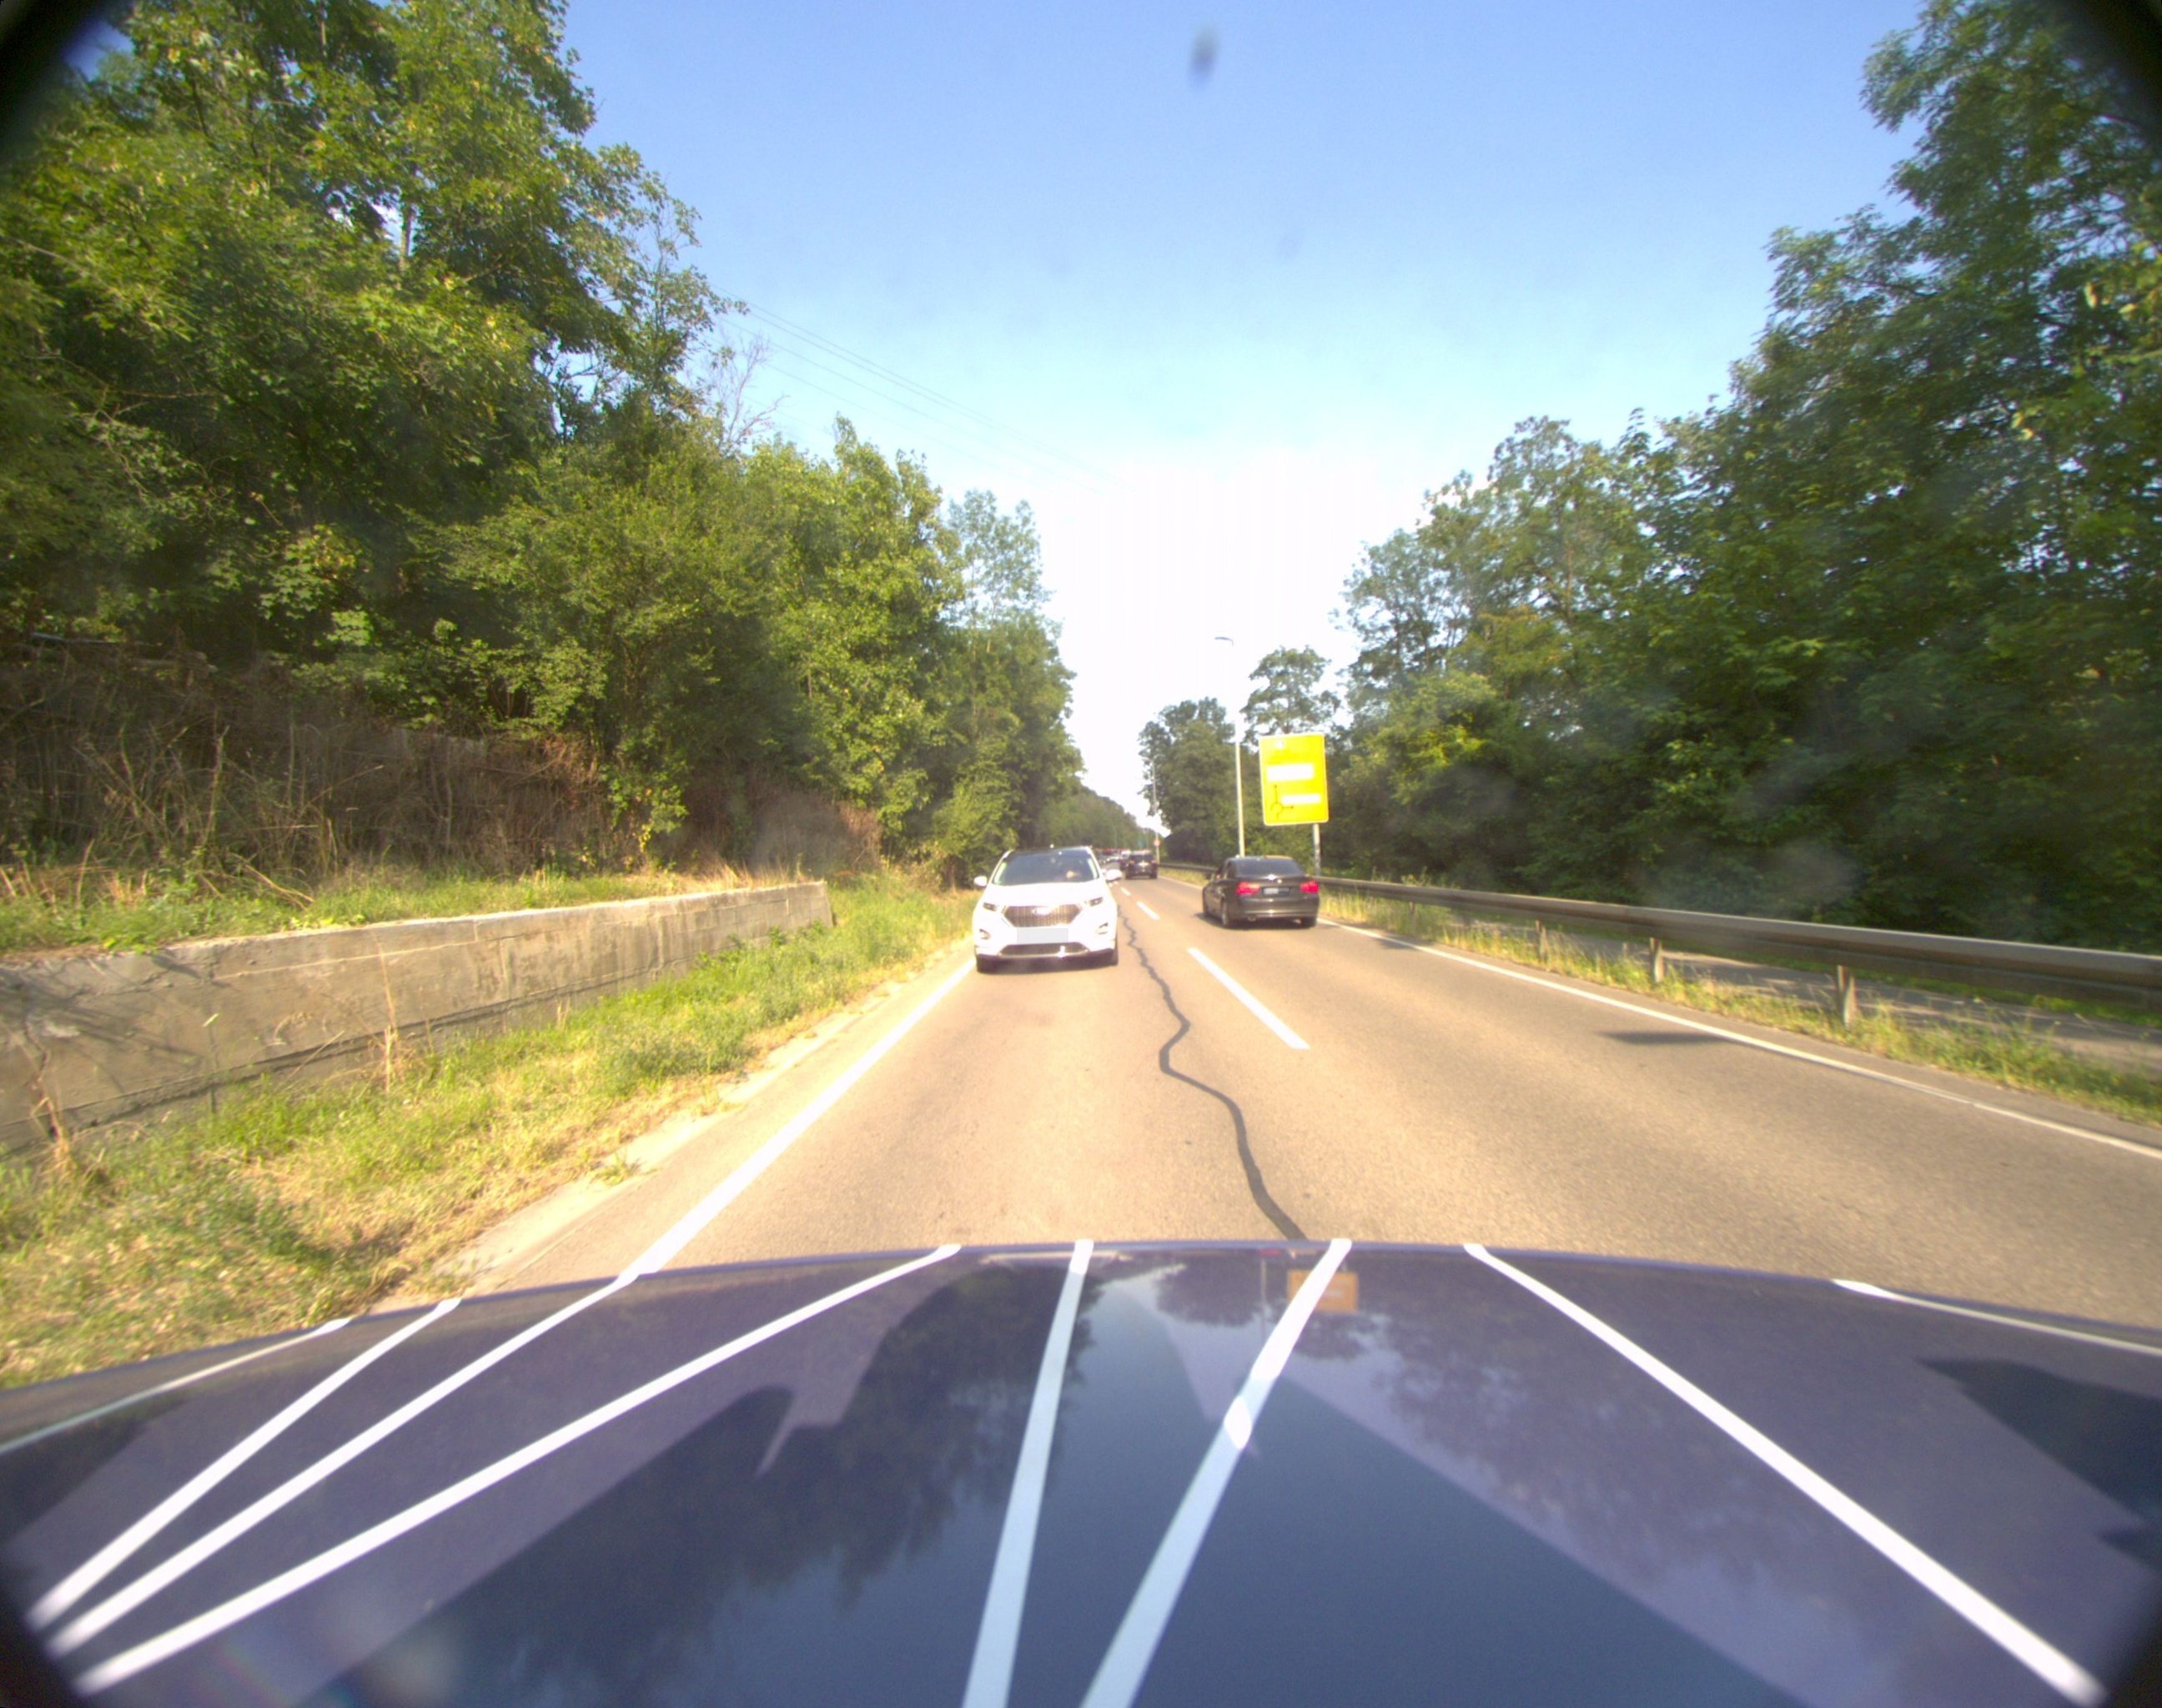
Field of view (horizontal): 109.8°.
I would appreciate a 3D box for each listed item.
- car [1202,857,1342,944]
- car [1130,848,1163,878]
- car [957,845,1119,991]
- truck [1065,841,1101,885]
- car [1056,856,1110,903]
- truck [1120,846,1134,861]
[{"bbox_3d":[3.528,0.784,14.785,1.696,1.412,4.141,-1,0,1],"label":"car"},{"bbox_3d":[3.950,0.540,46.661,1.752,1.707,4.221,-2,0,2],"label":"car"},{"bbox_3d":[-0.500,0.789,11.460,1.894,1.691,4.136,-4,0,1],"label":"car"},{"bbox_3d":[0.147,0.474,44.479,1.894,2.334,5.273,-3,0,1],"label":"truck"},{"bbox_3d":[0.093,0.847,27.182,1.704,1.477,4.136,-3,0,1],"label":"car"},{"bbox_3d":[8.164,-0.088,134.438,2.061,2.371,5.875,-3,1,7],"label":"truck"}]
